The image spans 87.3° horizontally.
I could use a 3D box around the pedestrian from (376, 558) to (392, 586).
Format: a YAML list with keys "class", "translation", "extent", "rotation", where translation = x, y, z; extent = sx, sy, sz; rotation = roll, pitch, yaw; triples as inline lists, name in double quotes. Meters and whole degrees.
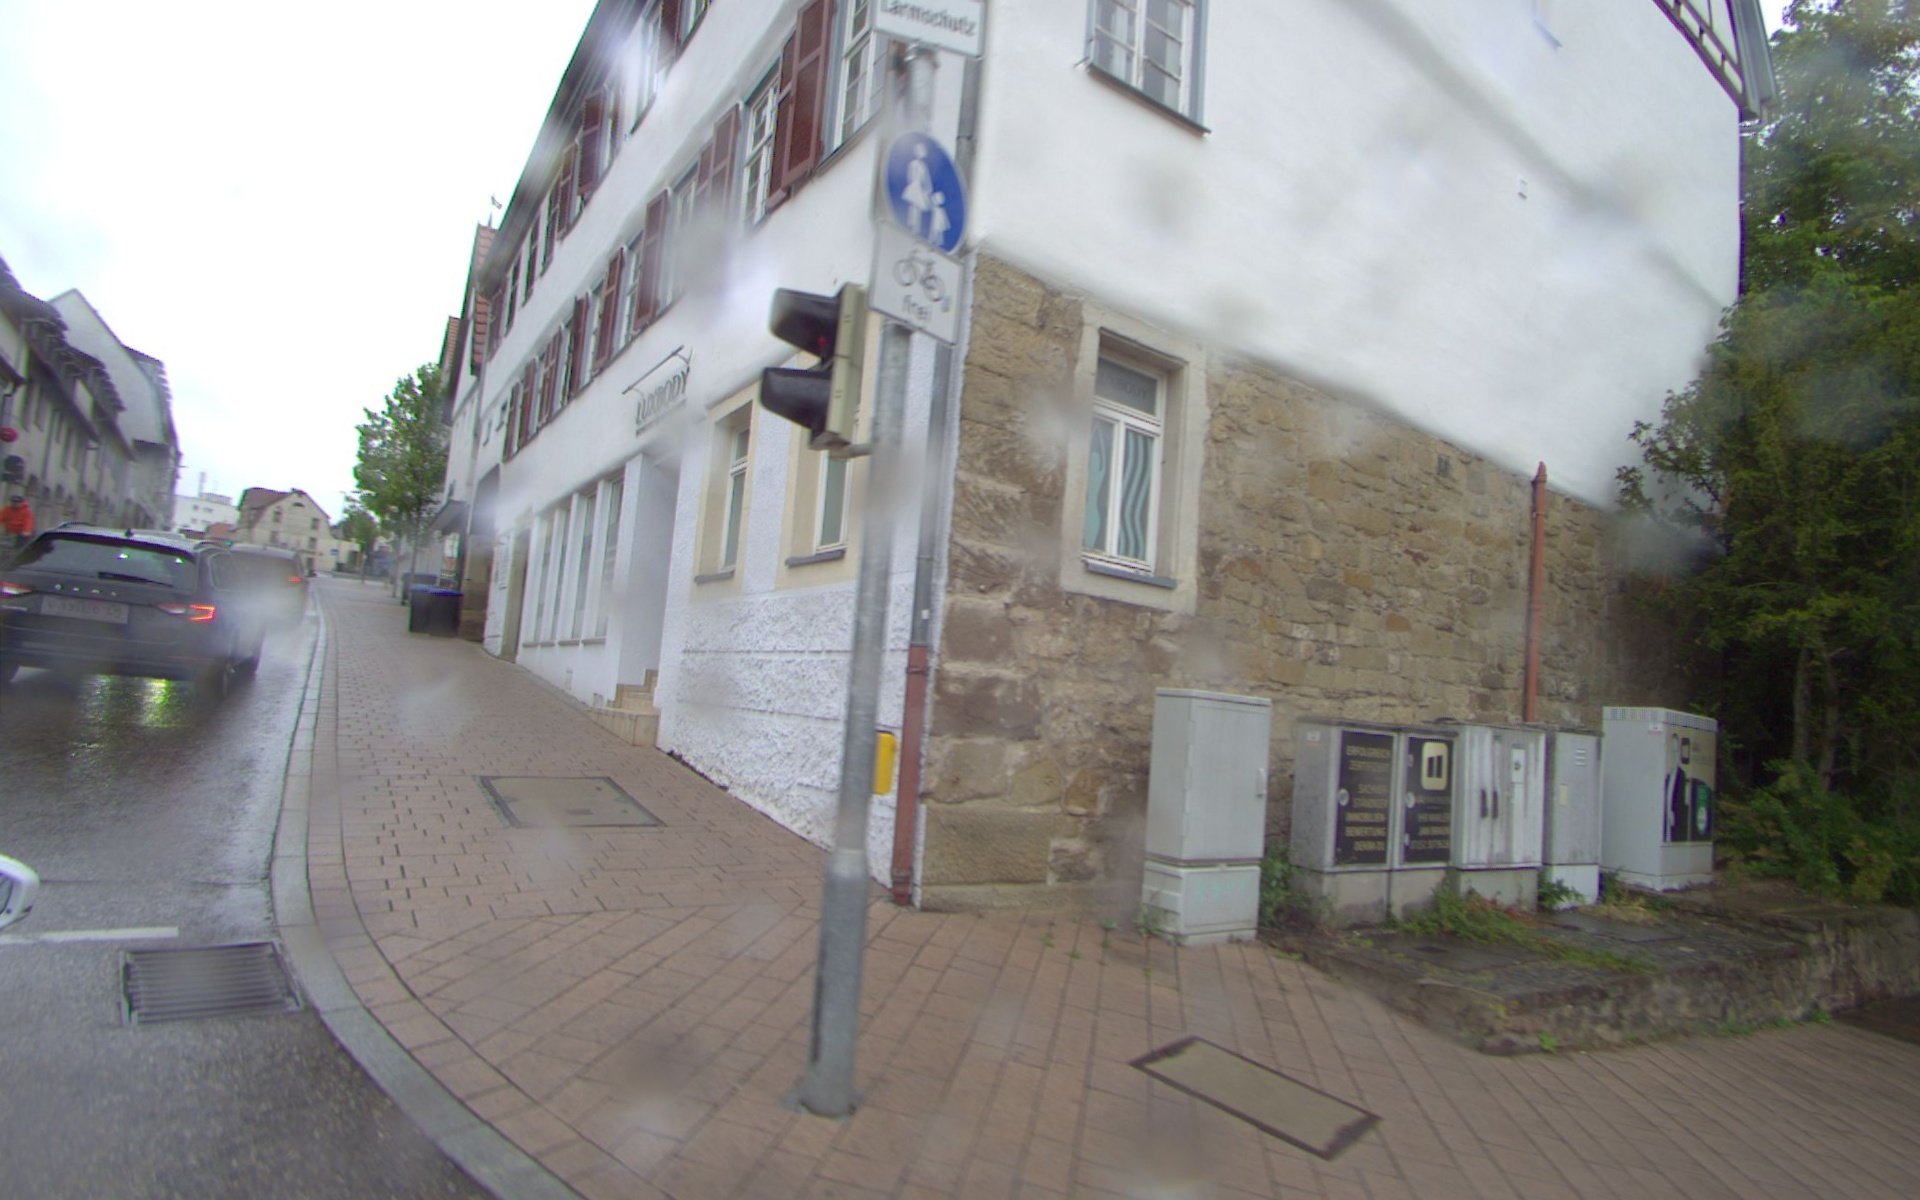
- class: "pedestrian"
  translation: [-37.545, -1.839, 65.545]
  extent: [0.700, 1.744, 0.826]
  rotation: [9, -2, -31]

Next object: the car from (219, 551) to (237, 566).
- class: "car"
  translation: [-91.465, -5.241, 125.737]
  extent: [1.620, 1.546, 3.962]
  rotation: [10, -3, -36]

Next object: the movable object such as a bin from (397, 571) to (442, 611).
- class: "movable object such as a bin"
  translation: [-20.976, -0.347, 39.035]
  extent: [1.279, 1.364, 1.474]
  rotation: [9, -3, -34]

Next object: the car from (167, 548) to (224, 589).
- class: "car"
  translation: [-34.945, -1.433, 46.058]
  extent: [1.764, 1.551, 3.677]
  rotation: [9, -3, -35]

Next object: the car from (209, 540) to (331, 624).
- class: "car"
  translation: [-15.541, -0.396, 22.849]
  extent: [1.844, 1.489, 3.970]
  rotation: [9, -3, -30]

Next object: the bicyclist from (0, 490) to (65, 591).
- class: "bicyclist"
  translation: [-20.314, -1.273, 21.704]
  extent: [1.126, 2.037, 0.874]
  rotation: [6, -1, -27]

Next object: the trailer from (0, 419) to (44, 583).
- class: "trailer"
  translation: [-22.655, -2.294, 22.560]
  extent: [1.981, 3.573, 4.539]
  rotation: [8, -3, -32]

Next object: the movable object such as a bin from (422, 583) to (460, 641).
- class: "movable object such as a bin"
  translation: [-11.907, 0.291, 23.086]
  extent: [0.619, 1.217, 0.603]
  rotation: [8, -7, -26]

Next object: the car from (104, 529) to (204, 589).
- class: "car"
  translation: [-26.299, -1.295, 32.951]
  extent: [1.859, 1.682, 4.276]
  rotation: [5, -1, -31]

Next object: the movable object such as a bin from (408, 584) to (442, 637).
- class: "movable object such as a bin"
  translation: [-12.469, 0.252, 23.463]
  extent: [0.562, 1.119, 0.673]
  rotation: [8, -6, -27]

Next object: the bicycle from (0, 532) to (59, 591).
- class: "bicycle"
  translation: [-20.351, -0.829, 21.675]
  extent: [0.741, 1.176, 2.144]
  rotation: [8, -3, -27]

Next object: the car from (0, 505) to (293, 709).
- class: "car"
  translation: [-8.099, 0.036, 10.014]
  extent: [1.872, 1.464, 4.328]
  rotation: [9, -3, -28]
